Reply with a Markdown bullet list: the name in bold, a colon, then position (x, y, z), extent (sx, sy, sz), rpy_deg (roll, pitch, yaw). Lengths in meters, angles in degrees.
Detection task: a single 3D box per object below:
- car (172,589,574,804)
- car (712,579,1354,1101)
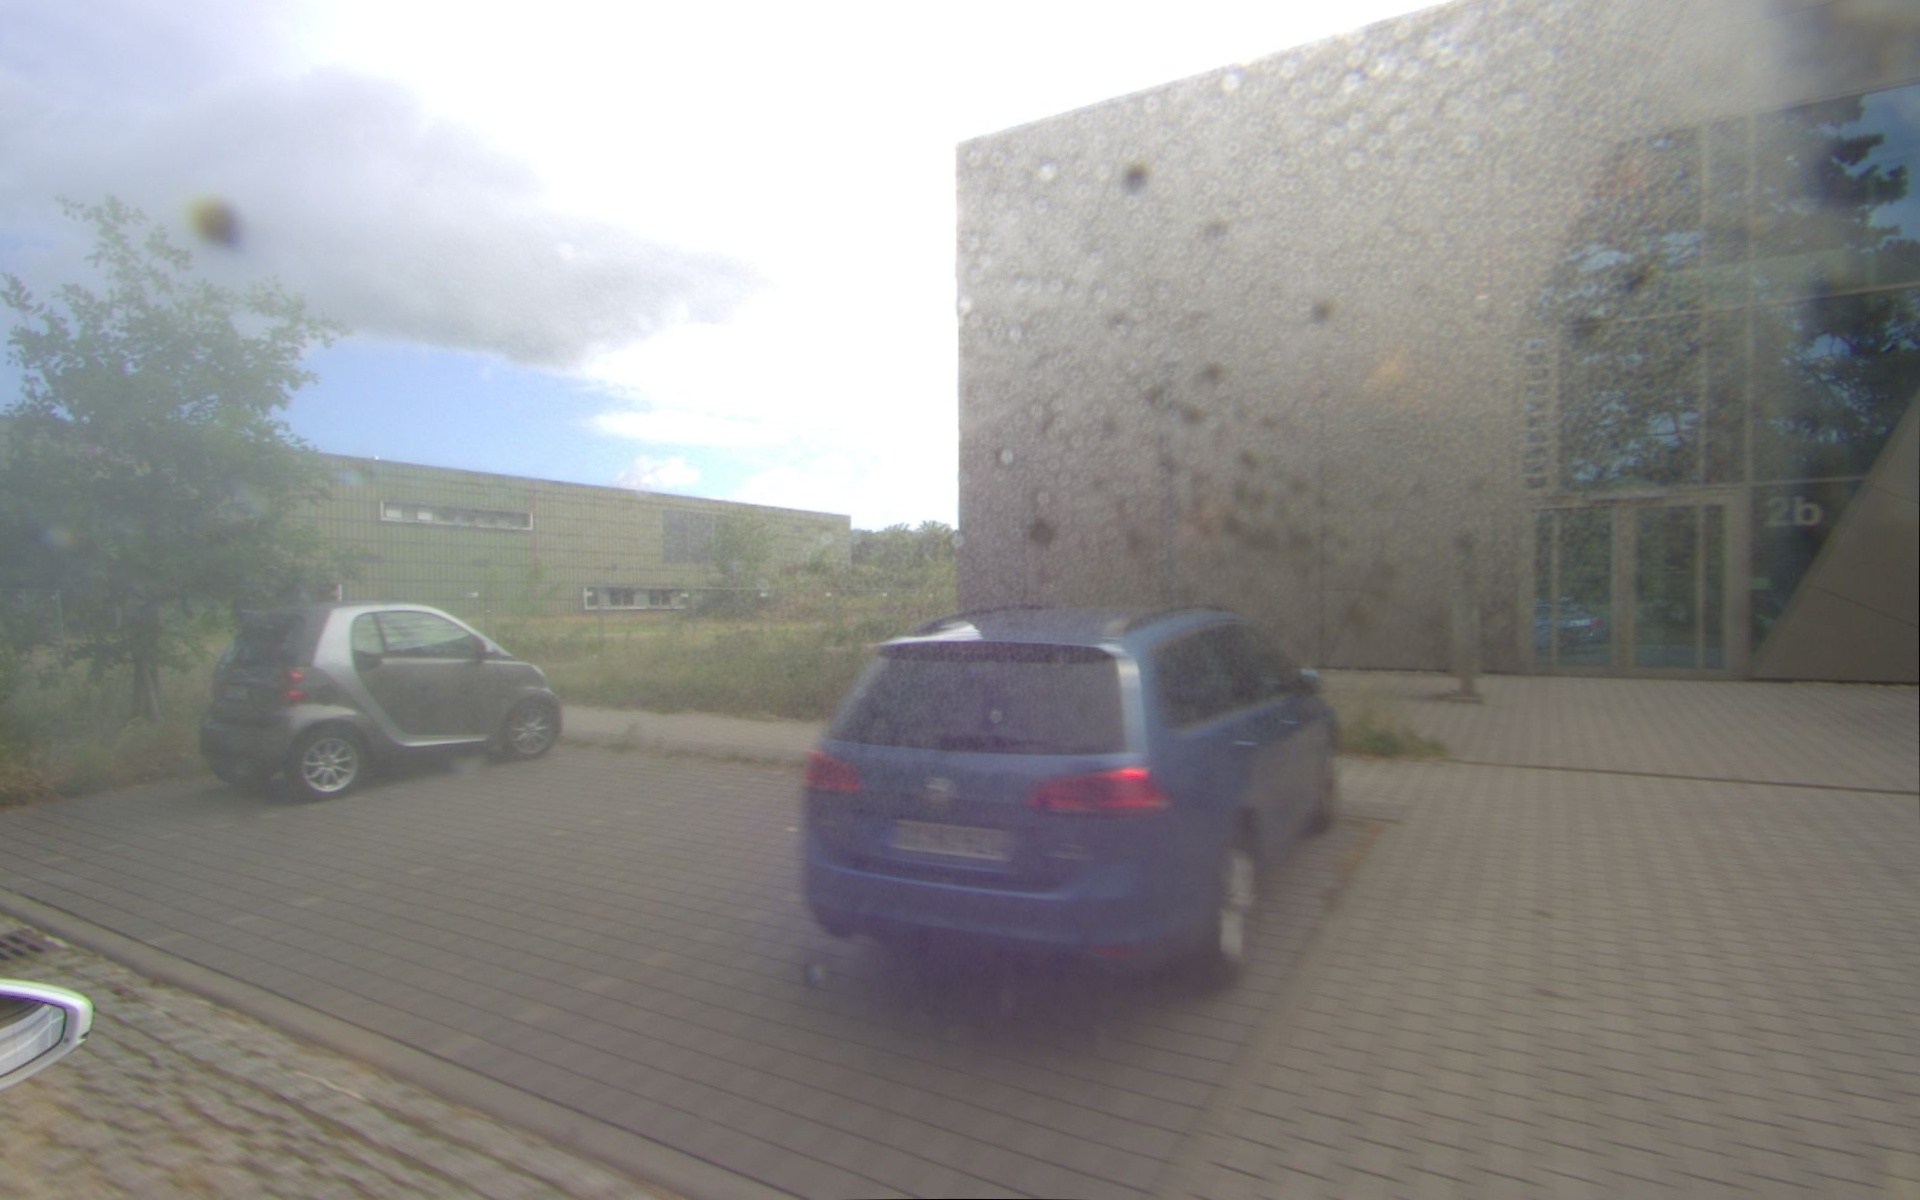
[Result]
- **car**: position (-5.231, 0.727, 9.180), extent (1.630, 1.577, 2.703), rpy_deg (0, 2, 32)
- **car**: position (0.902, 0.701, 5.446), extent (1.802, 1.496, 4.483), rpy_deg (0, 2, 28)
